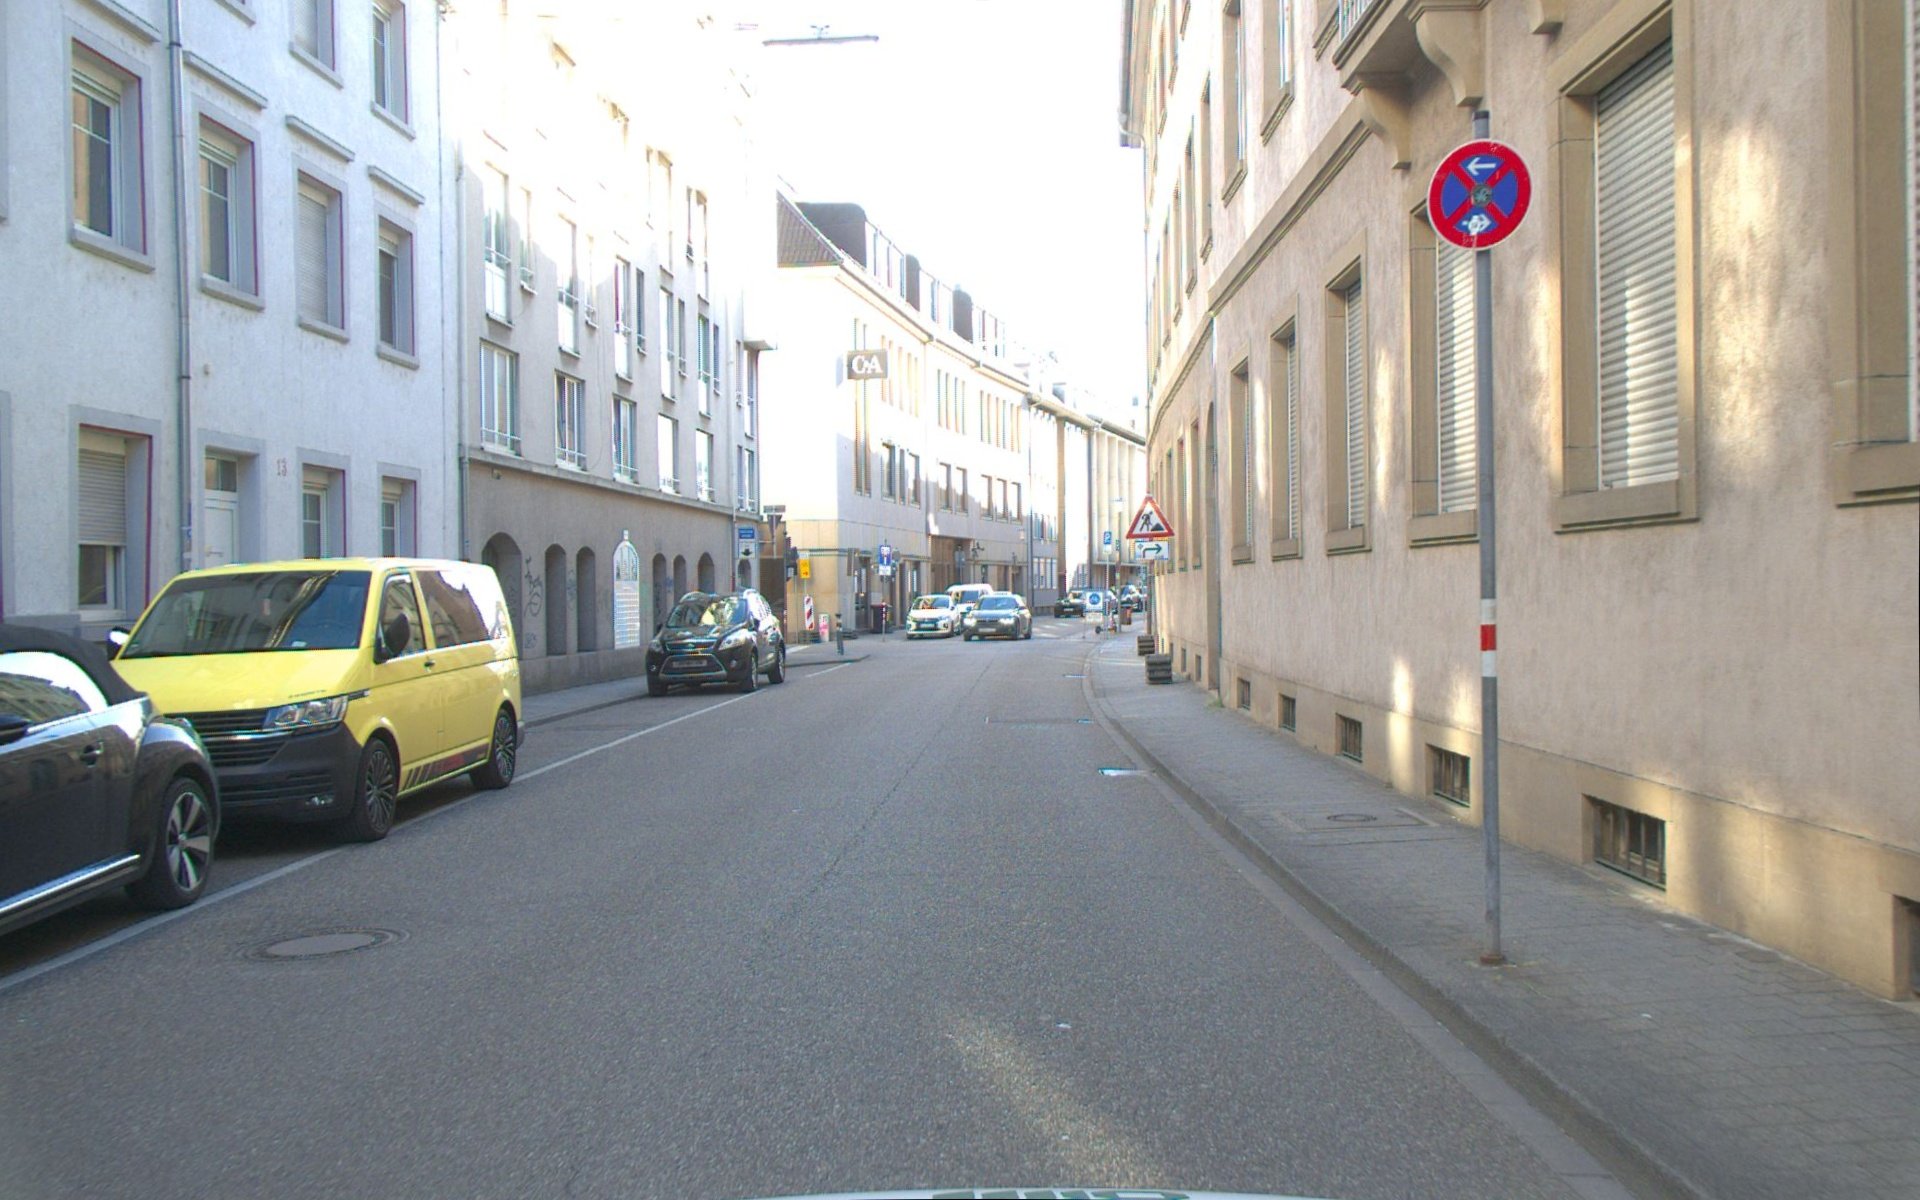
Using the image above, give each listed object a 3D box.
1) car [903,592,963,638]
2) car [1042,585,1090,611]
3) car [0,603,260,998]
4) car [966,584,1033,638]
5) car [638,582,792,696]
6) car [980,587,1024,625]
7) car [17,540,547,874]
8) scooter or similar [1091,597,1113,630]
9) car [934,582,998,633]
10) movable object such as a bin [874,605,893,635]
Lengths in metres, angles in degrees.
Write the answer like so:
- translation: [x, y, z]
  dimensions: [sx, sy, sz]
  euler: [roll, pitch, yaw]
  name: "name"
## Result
- translation: [-0.927, 0.518, 59.420]
  dimensions: [1.635, 1.533, 3.796]
  euler: [-2, 0, 6]
  name: "car"
- translation: [5.904, -0.122, 91.520]
  dimensions: [1.841, 1.355, 4.103]
  euler: [-1, 0, 15]
  name: "car"
- translation: [-4.639, 0.832, 6.829]
  dimensions: [1.782, 1.512, 4.075]
  euler: [-4, 0, -2]
  name: "car"
- translation: [1.227, 0.337, 53.097]
  dimensions: [1.681, 1.605, 4.186]
  euler: [-1, 0, -5]
  name: "car"
- translation: [-4.192, 0.618, 28.943]
  dimensions: [1.703, 1.740, 4.193]
  euler: [-4, 0, 4]
  name: "car"
- translation: [1.815, 0.249, 71.270]
  dimensions: [1.244, 1.533, 3.405]
  euler: [-2, 0, 12]
  name: "car"
- translation: [-4.694, 0.632, 12.396]
  dimensions: [1.842, 1.899, 4.864]
  euler: [-4, 0, 0]
  name: "car"
- translation: [5.158, 0.495, 60.246]
  dimensions: [0.754, 1.156, 0.269]
  euler: [1, 0, 8]
  name: "scooter or similar"
- translation: [0.293, 0.266, 65.198]
  dimensions: [1.635, 1.850, 4.556]
  euler: [-2, 0, 11]
  name: "car"
- translation: [-2.818, 0.748, 60.760]
  dimensions: [0.596, 1.079, 0.713]
  euler: [1, 0, 3]
  name: "movable object such as a bin"
